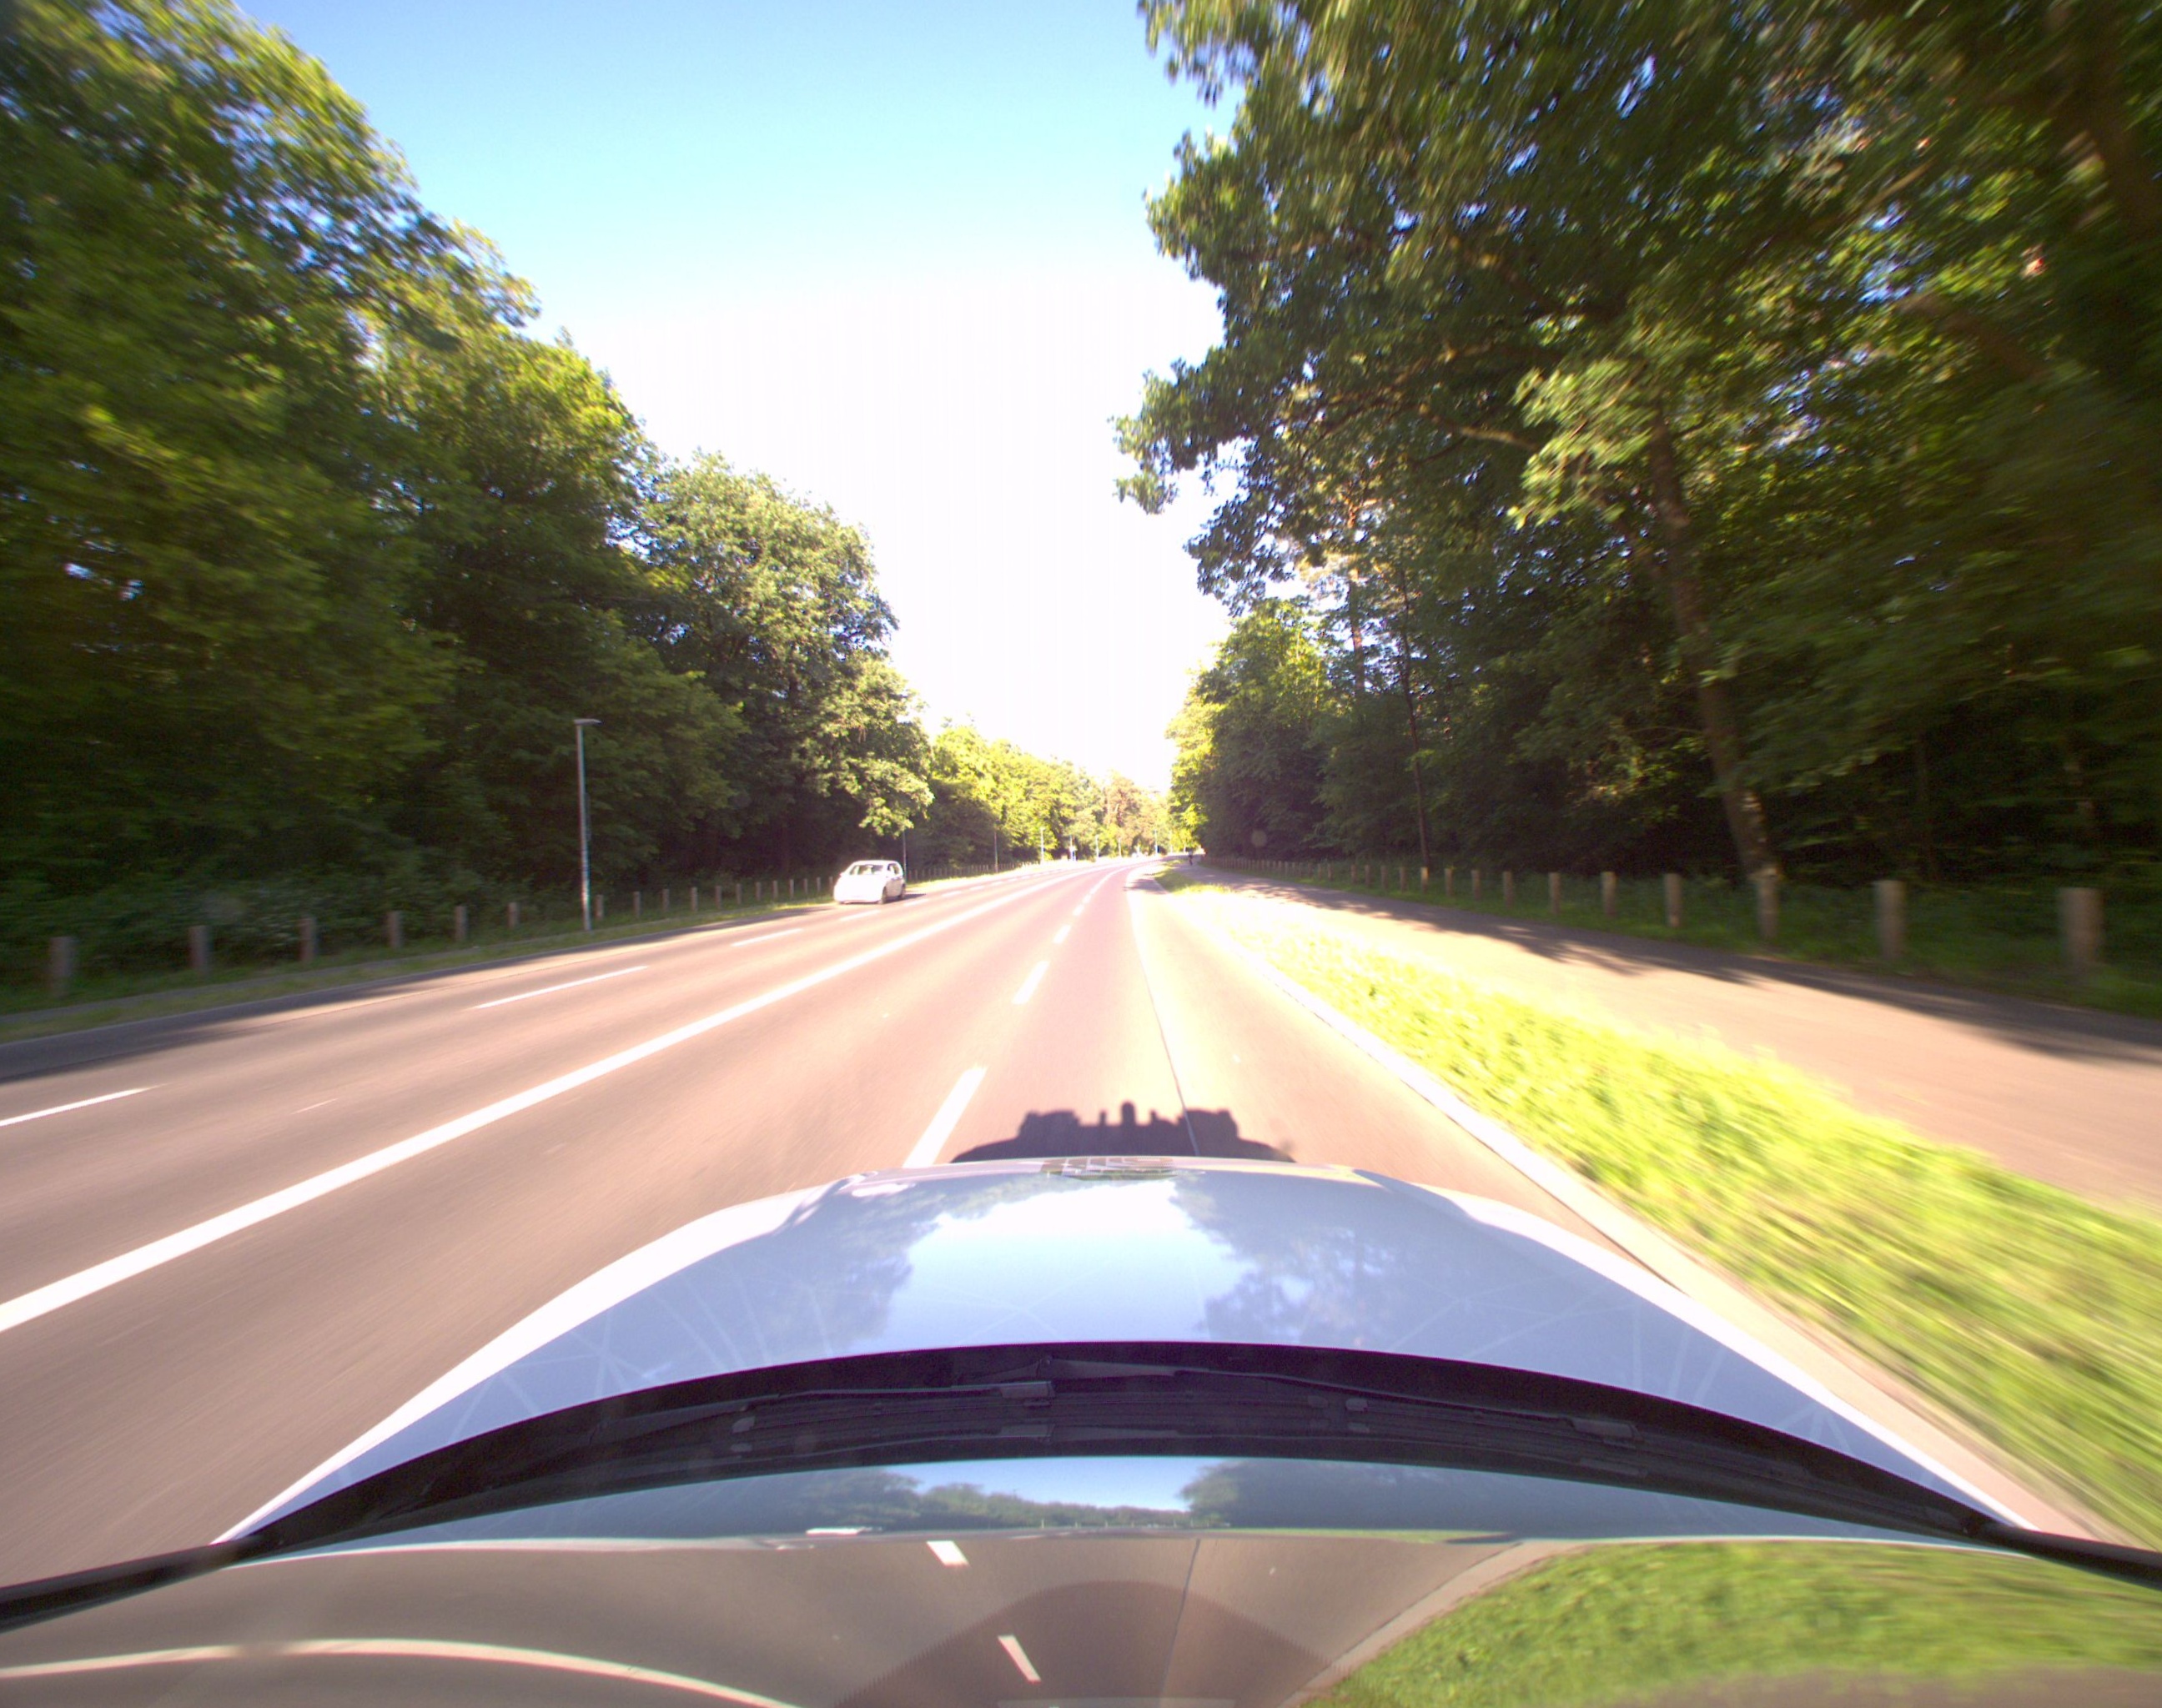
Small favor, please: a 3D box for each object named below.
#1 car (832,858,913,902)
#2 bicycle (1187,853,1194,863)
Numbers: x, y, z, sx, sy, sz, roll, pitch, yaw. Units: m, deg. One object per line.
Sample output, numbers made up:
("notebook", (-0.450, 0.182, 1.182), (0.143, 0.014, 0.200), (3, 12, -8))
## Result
("car", (-7.360, 0.863, 29.142), (1.581, 1.437, 4.312), (0, 0, 3))
("bicycle", (11.857, 0.458, 88.346), (0.708, 1.056, 2.057), (-2, 0, 8))
